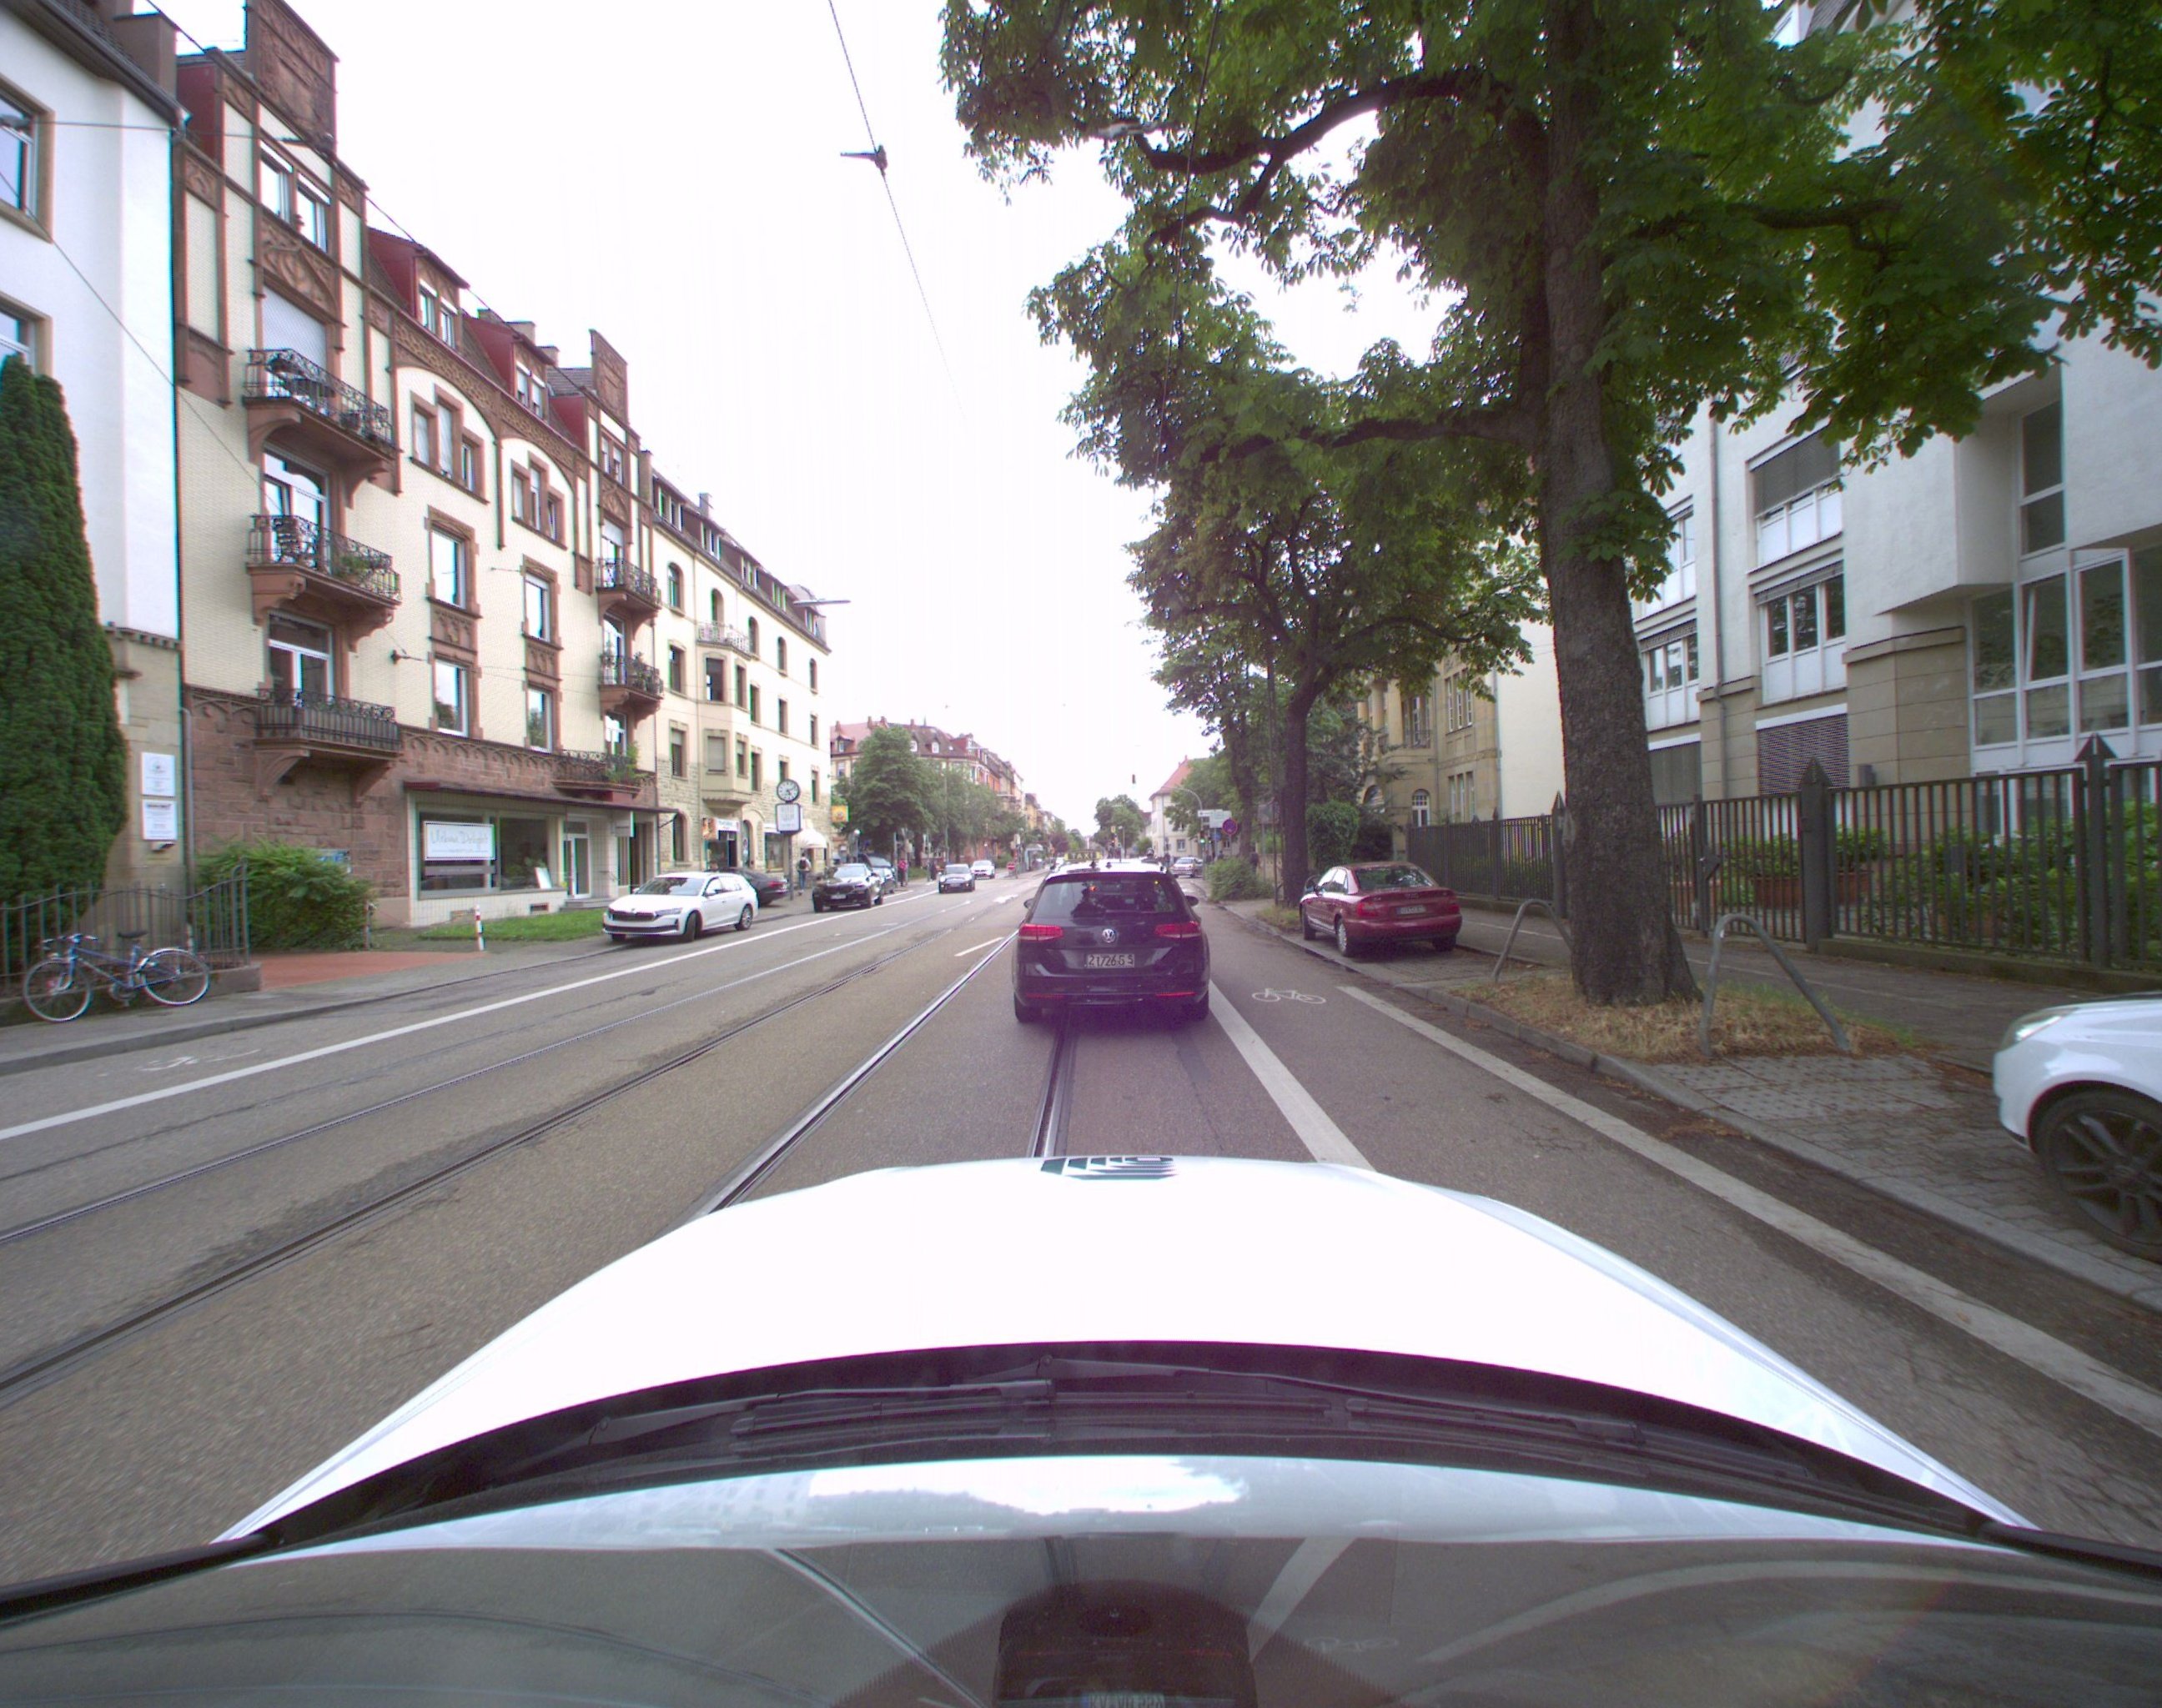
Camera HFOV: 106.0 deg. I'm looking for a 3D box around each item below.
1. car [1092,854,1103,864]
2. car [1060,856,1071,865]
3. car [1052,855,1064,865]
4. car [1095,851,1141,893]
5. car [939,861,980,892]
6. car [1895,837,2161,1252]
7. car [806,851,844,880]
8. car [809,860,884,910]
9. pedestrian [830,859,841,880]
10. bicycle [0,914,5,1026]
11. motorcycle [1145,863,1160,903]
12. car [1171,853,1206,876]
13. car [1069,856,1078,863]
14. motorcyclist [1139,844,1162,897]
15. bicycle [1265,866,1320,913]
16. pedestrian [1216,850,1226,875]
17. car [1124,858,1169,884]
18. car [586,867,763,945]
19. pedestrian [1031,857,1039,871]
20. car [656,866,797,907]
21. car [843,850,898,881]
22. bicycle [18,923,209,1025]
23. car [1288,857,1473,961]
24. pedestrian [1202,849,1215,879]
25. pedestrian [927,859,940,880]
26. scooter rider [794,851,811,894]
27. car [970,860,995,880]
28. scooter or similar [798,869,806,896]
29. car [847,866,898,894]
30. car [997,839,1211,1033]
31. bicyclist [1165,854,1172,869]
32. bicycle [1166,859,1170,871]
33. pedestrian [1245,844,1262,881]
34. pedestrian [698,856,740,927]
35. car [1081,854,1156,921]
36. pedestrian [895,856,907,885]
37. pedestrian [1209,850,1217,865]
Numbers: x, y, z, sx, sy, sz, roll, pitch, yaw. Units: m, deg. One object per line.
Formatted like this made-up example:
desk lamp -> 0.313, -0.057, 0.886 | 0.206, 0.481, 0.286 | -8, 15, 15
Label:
car -> 3.251, 1.016, 158.976 | 2.025, 2.014, 4.001 | 0, -1, 2
car -> -2.862, 1.194, 150.020 | 1.715, 1.622, 3.864 | -1, 0, 1
car -> -3.818, 1.039, 135.298 | 1.715, 1.622, 3.864 | -2, 0, 1
car -> 1.436, 0.664, 32.365 | 1.717, 1.546, 4.001 | -1, 0, 2
car -> -6.216, 1.118, 42.022 | 1.604, 1.422, 3.484 | -2, 0, -1
car -> 4.567, 0.656, 1.904 | 1.596, 1.435, 3.779 | -3, 0, 2
car -> -23.477, 1.022, 74.484 | 2.193, 2.527, 5.328 | -1, 0, -30
car -> -8.669, 1.100, 30.516 | 1.881, 1.611, 4.875 | -4, 0, -7
pedestrian -> -21.006, 1.319, 69.602 | 0.703, 1.715, 0.546 | -1, -1, -39
bicycle -> -10.776, 1.147, 7.276 | 0.385, 1.102, 1.619 | -1, 0, -10
motorcycle -> 2.336, 0.933, 26.603 | 0.444, 1.235, 1.909 | -1, 0, 5
car -> 7.506, 0.737, 56.788 | 1.979, 1.578, 4.014 | 0, -1, 14
car -> -1.562, 1.110, 167.135 | 1.715, 1.465, 3.864 | -2, 0, 1
motorcyclist -> 2.270, 0.537, 26.630 | 0.699, 1.692, 0.805 | -1, 0, 5
bicycle -> 5.577, 0.916, 21.384 | 1.915, 1.198, 0.428 | 1, -2, -44
pedestrian -> 10.452, 0.661, 60.862 | 0.510, 1.831, 0.420 | -4, -1, 18
car -> 3.961, 0.976, 48.446 | 1.878, 1.408, 4.017 | -2, 0, 15
car -> -9.228, 1.097, 18.992 | 1.741, 1.484, 4.609 | -2, 0, 1
pedestrian -> -4.980, 1.046, 88.490 | 0.711, 1.521, 0.590 | -1, -1, 3
car -> -13.213, 1.210, 30.599 | 4.415, 1.370, 1.878 | 1, 0, -4
car -> -17.066, 0.942, 65.875 | 2.197, 2.417, 5.316 | -1, -1, -41
bicycle -> -10.964, 1.326, 9.304 | 0.331, 0.938, 1.515 | -1, 0, 1
car -> 4.788, 0.788, 13.666 | 1.596, 1.399, 4.229 | -3, 0, 2
pedestrian -> 7.775, 0.609, 49.590 | 0.583, 1.831, 0.604 | -4, -1, 2
pedestrian -> -11.729, 1.247, 64.855 | 0.841, 1.663, 0.586 | -1, -1, -26
scooter rider -> -13.194, 0.883, 38.560 | 0.645, 2.014, 0.751 | -1, -1, -27
car -> -7.923, 1.245, 65.819 | 1.695, 1.496, 3.925 | -2, 0, -4
scooter or similar -> -13.196, 1.345, 38.491 | 0.232, 1.234, 0.945 | -1, -1, -26
car -> -10.973, 1.346, 43.199 | 1.644, 1.361, 4.128 | 1, 0, -1
car -> 0.244, 0.672, 8.603 | 1.717, 1.546, 4.001 | -1, 0, 2
bicyclist -> 9.114, 0.807, 85.238 | 0.647, 1.568, 0.697 | -2, -1, 8
bicycle -> 9.113, 1.135, 85.226 | 0.295, 1.223, 1.434 | -2, 0, 9
pedestrian -> 8.600, 0.404, 40.557 | 0.630, 1.815, 0.726 | -1, -1, -1
pedestrian -> -9.712, 0.994, 21.891 | 0.665, 1.844, 0.882 | -2, 0, 0
car -> 0.926, 0.785, 20.976 | 1.717, 1.546, 4.001 | -1, 0, 2
pedestrian -> -11.414, 1.050, 51.731 | 0.621, 1.842, 0.609 | -1, -1, -1
pedestrian -> 13.966, 0.396, 86.100 | 0.612, 1.553, 0.577 | 0, -1, -38
